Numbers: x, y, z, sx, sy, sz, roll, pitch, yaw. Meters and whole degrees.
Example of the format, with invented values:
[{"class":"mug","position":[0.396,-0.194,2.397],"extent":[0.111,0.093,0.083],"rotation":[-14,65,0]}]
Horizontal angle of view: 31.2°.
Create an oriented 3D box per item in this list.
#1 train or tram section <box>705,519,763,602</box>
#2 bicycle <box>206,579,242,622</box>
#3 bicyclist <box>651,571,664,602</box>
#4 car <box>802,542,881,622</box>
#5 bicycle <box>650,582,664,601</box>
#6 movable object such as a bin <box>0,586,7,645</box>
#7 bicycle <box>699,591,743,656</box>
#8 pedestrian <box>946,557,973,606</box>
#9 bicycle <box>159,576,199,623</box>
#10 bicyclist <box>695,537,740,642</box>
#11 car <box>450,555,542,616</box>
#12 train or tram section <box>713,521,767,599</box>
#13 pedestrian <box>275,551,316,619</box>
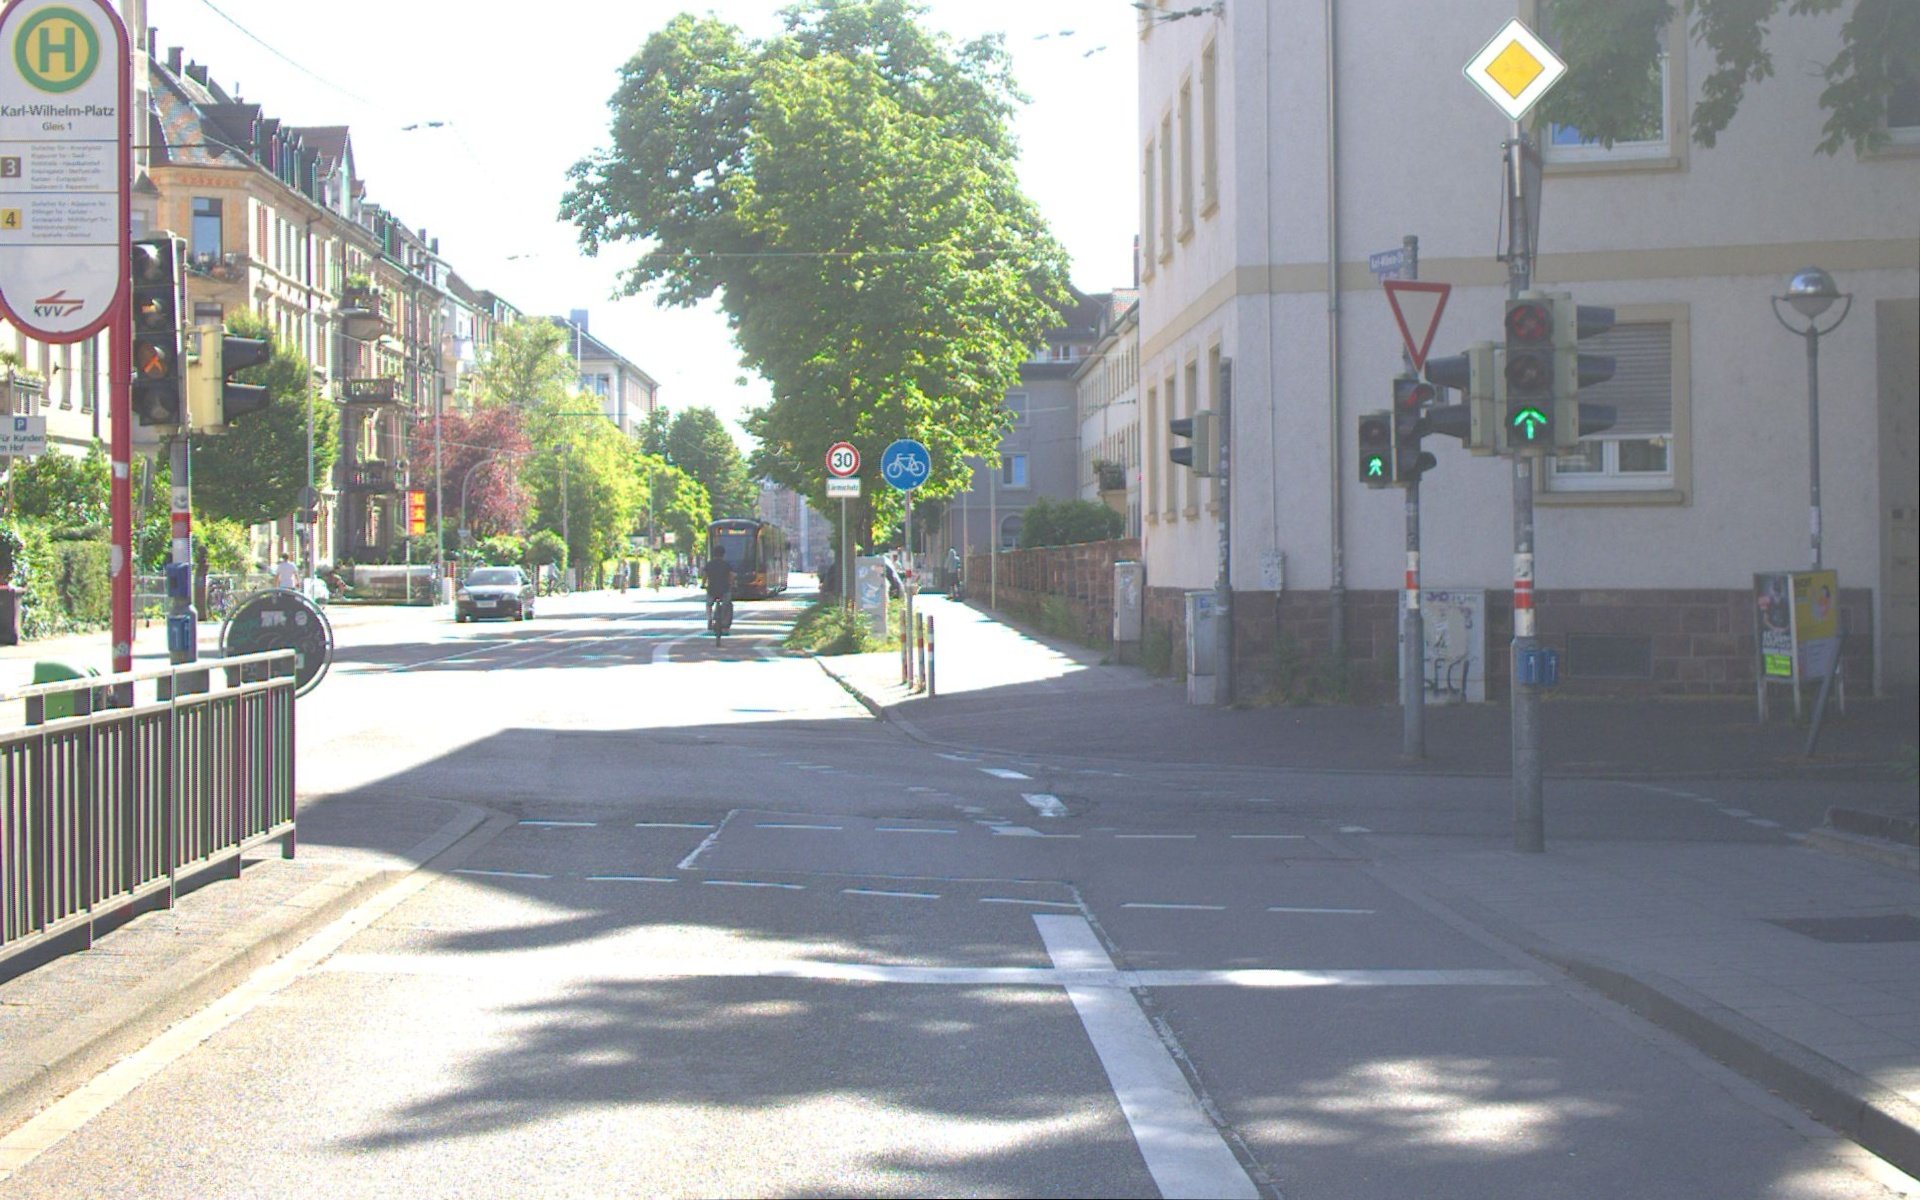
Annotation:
[{"class":"train or tram section","position":[-9.727,-1.709,148.286],"extent":[2.153,3.420,6.611],"rotation":[1,1,-2]},{"class":"bicycle","position":[-18.282,0.003,85.428],"extent":[0.563,1.030,1.768],"rotation":[1,1,-2]},{"class":"bicyclist","position":[-17.858,-0.792,203.137],"extent":[0.660,1.795,0.616],"rotation":[-2,0,-1]},{"class":"car","position":[-2.748,-0.435,79.500],"extent":[1.743,1.760,4.478],"rotation":[1,1,-2]},{"class":"bicycle","position":[-17.863,-0.498,202.930],"extent":[0.691,1.108,1.719],"rotation":[-2,1,-1]},{"class":"movable object such as a bin","position":[-18.017,0.279,63.808],"extent":[0.479,1.082,0.541],"rotation":[1,1,0]},{"class":"bicycle","position":[-4.249,0.403,61.183],"extent":[0.691,1.108,1.719],"rotation":[1,1,-1]},{"class":"pedestrian","position":[-0.011,-0.661,122.381],"extent":[0.764,1.718,0.579],"rotation":[1,1,28]},{"class":"bicycle","position":[-18.424,-0.020,81.106],"extent":[0.563,1.030,1.768],"rotation":[1,2,-1]},{"class":"bicyclist","position":[-4.308,-0.187,61.089],"extent":[0.727,1.842,0.837],"rotation":[1,1,-2]},{"class":"car","position":[-12.402,-0.404,92.113],"extent":[1.832,1.513,4.967],"rotation":[2,1,-1]},{"class":"train or tram section","position":[-9.887,-1.803,154.952],"extent":[2.153,3.420,6.611],"rotation":[1,1,-2]},{"class":"pedestrian","position":[-17.151,-0.387,88.735],"extent":[0.829,1.718,1.082],"rotation":[1,0,-1]}]
